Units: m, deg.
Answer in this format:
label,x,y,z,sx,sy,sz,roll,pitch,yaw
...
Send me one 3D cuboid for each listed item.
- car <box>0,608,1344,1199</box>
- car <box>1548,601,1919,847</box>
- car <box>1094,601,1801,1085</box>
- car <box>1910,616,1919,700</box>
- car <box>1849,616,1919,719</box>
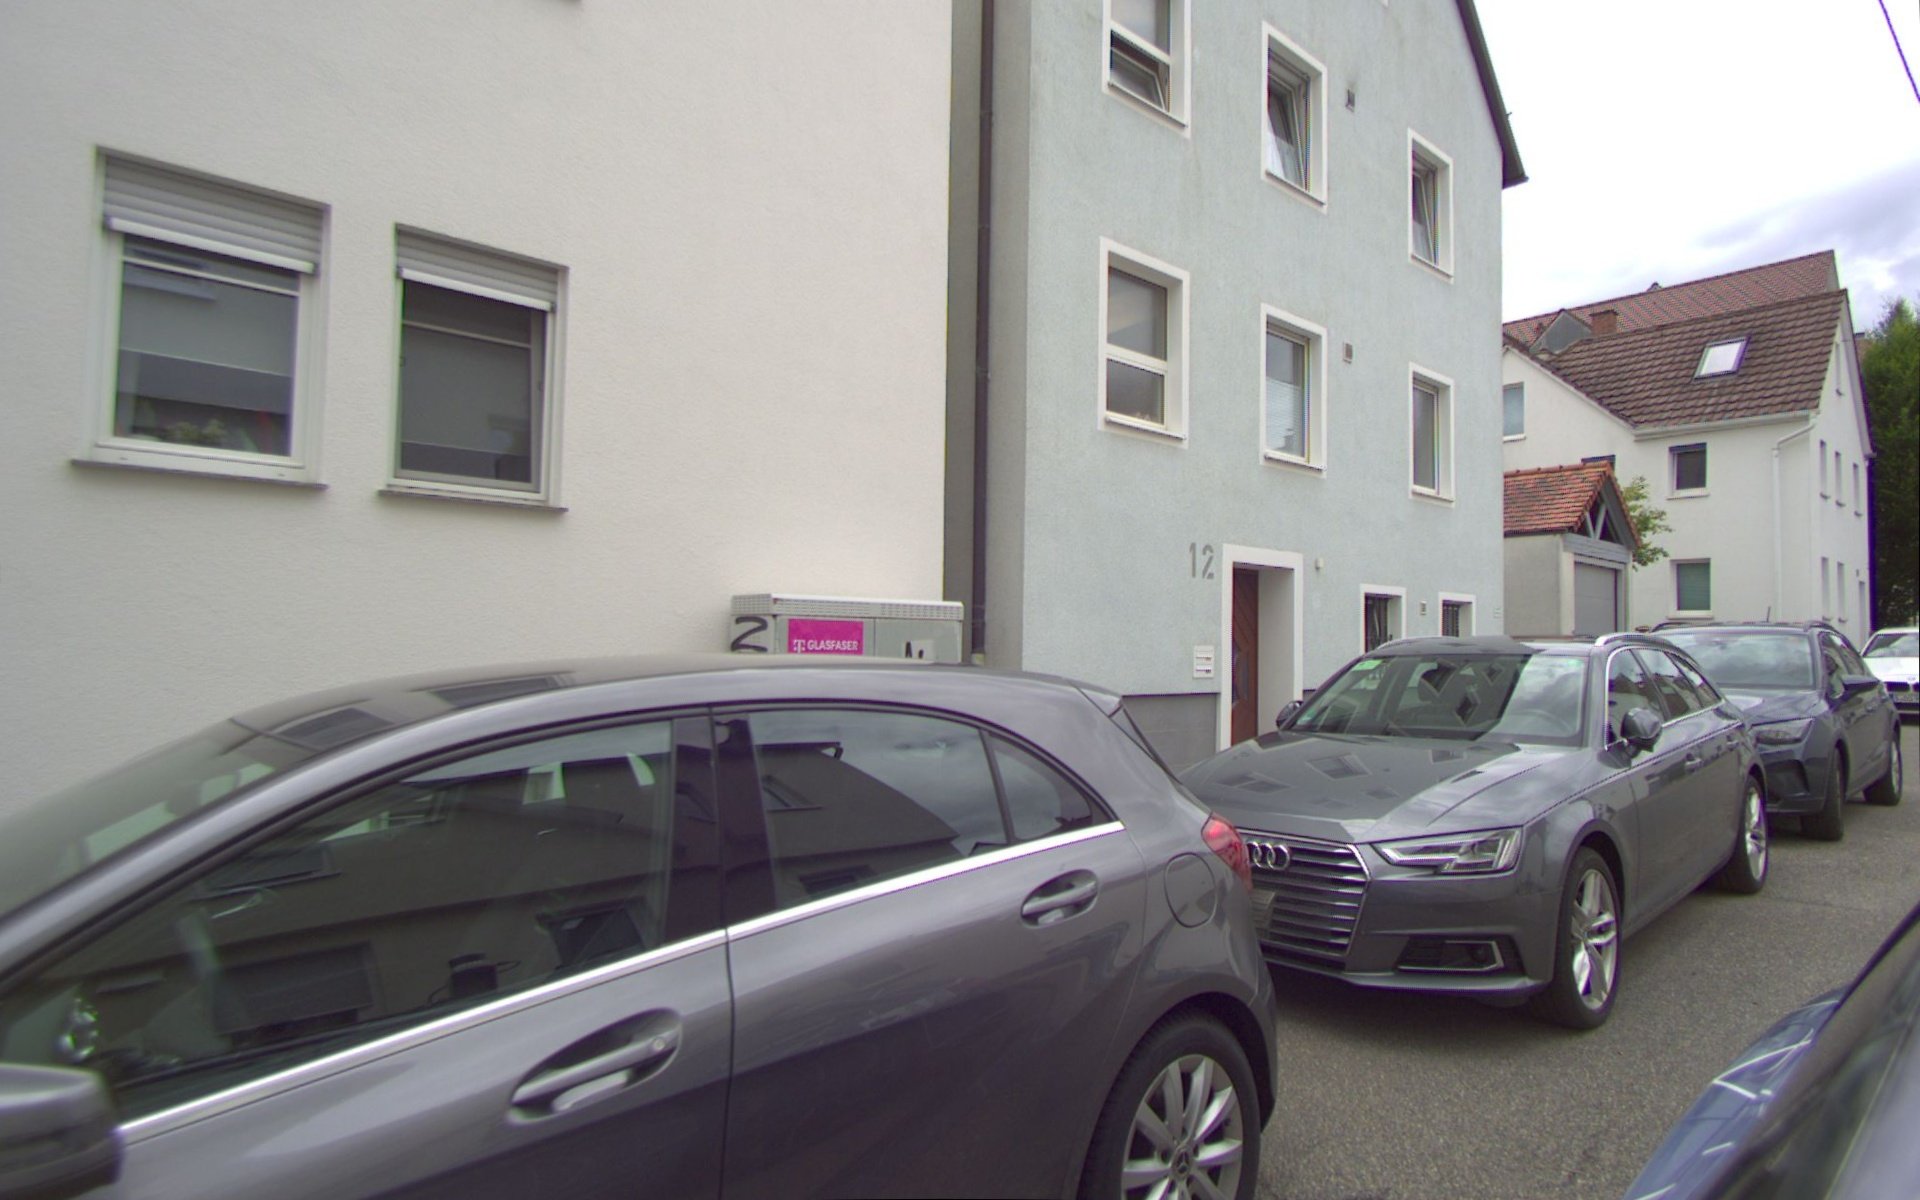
label,x,y,z,sx,sy,sz,roll,pitch,yaw
car,-1.160,0.800,1.913,3.888,1.462,1.811,0,-3,-40
car,6.393,0.841,8.197,3.772,1.532,1.641,2,-3,-41
car,2.724,0.802,5.139,4.191,1.462,1.727,1,-4,-42
car,20.843,1.126,20.441,4.204,1.641,1.770,1,-4,-39
car,16.270,1.066,16.755,3.969,1.583,1.768,2,-4,-41
